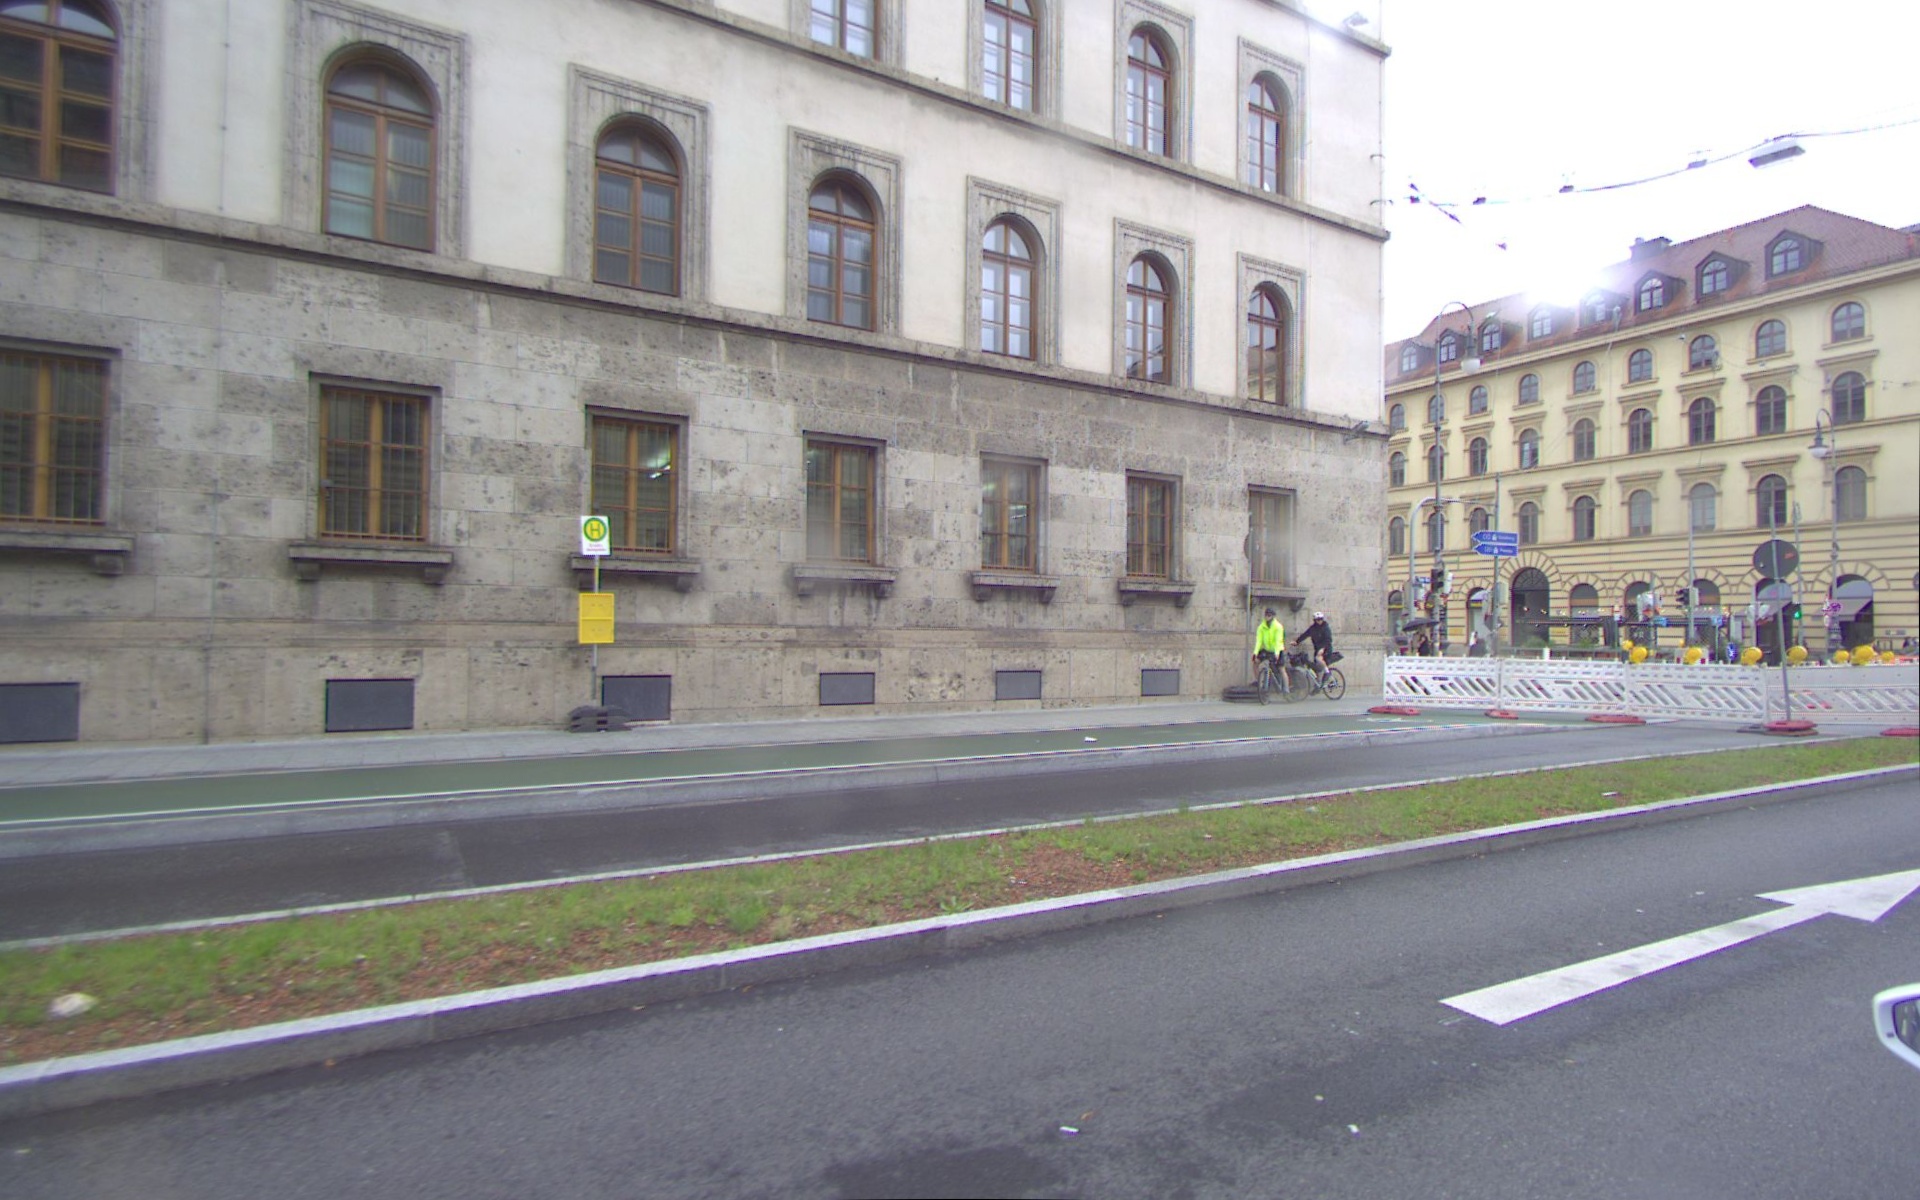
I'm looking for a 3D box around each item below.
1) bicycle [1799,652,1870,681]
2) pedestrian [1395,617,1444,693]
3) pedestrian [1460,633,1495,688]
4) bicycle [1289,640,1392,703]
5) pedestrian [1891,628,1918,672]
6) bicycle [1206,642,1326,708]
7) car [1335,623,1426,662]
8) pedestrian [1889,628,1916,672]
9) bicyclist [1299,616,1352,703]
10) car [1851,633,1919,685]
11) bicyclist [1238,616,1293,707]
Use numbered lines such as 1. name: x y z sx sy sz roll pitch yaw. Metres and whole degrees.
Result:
1. bicycle: 36.222 2.734 41.660 2.163 1.113 0.598 -1 -2 37
2. pedestrian: 11.171 1.332 24.430 0.726 1.795 0.845 1 0 -11
3. pedestrian: 17.331 2.003 33.636 0.727 1.795 0.734 1 0 -28
4. bicycle: 8.192 1.515 21.607 2.169 1.259 0.784 1 0 -26
5. pedestrian: 39.623 2.087 42.149 0.733 1.795 0.728 1 0 -40
6. bicycle: 6.209 1.488 20.340 2.416 1.259 0.784 1 0 -26
7. car: 20.524 2.068 49.096 1.851 1.822 3.713 2 -2 -37
8. pedestrian: 39.076 2.077 41.664 0.733 1.795 0.728 1 0 -40
9. bicyclist: 7.790 1.249 21.403 0.679 1.799 0.795 1 0 -26
10. car: 33.878 2.046 34.949 3.924 1.742 1.823 0 -2 24
11. bicyclist: 6.175 1.228 20.322 0.679 1.772 0.795 1 0 -26
